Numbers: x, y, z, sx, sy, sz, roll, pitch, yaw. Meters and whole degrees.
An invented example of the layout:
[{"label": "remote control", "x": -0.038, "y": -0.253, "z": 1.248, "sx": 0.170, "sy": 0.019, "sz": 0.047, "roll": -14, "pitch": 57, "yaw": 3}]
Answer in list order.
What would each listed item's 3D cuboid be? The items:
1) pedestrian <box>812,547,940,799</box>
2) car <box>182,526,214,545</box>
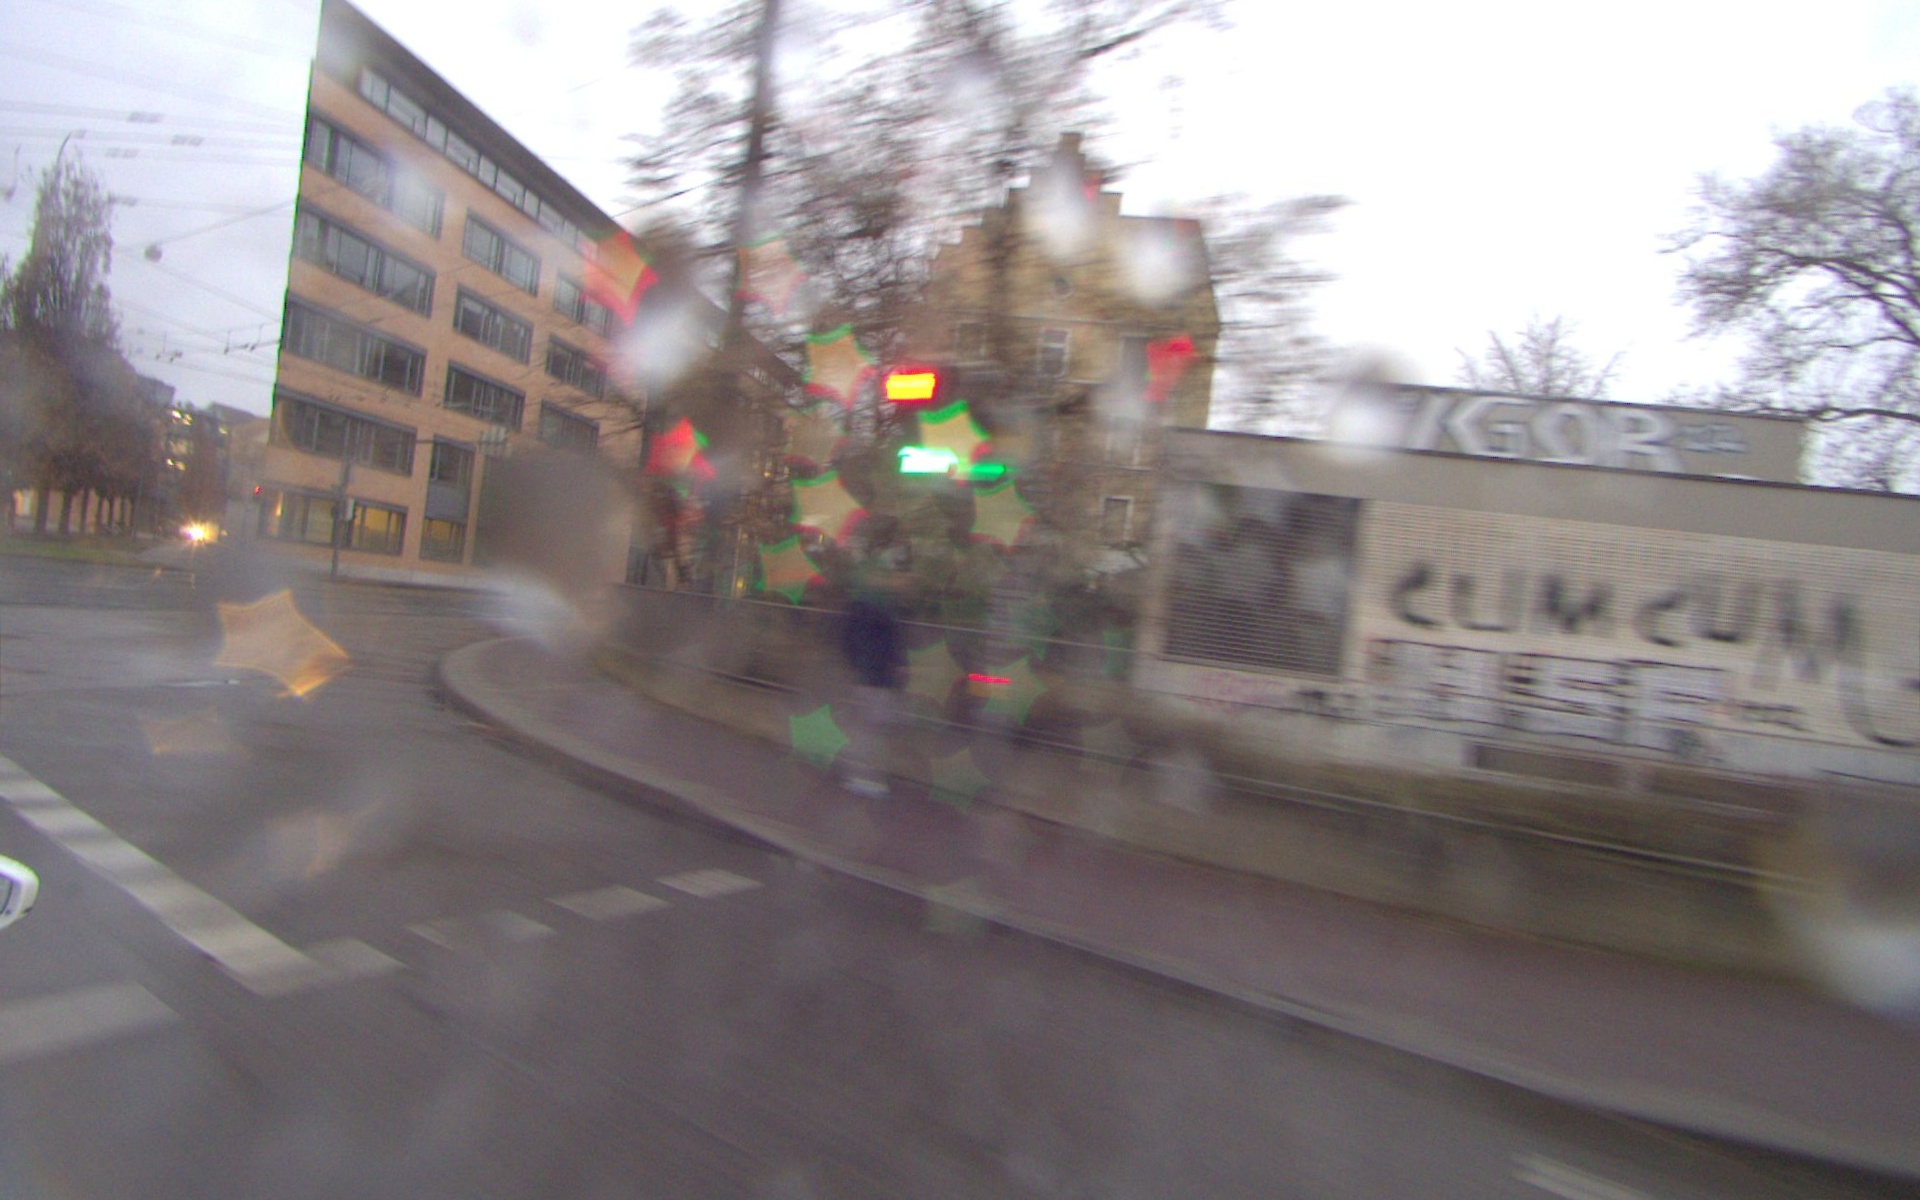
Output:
[{"label": "pedestrian", "x": -0.669, "y": 0.548, "z": 7.976, "sx": 0.672, "sy": 1.865, "sz": 0.571, "roll": 9, "pitch": 7, "yaw": 36}, {"label": "car", "x": -58.745, "y": -4.951, "z": 77.607, "sx": 1.657, "sy": 1.195, "sz": 3.674, "roll": 8, "pitch": -1, "yaw": -35}]
